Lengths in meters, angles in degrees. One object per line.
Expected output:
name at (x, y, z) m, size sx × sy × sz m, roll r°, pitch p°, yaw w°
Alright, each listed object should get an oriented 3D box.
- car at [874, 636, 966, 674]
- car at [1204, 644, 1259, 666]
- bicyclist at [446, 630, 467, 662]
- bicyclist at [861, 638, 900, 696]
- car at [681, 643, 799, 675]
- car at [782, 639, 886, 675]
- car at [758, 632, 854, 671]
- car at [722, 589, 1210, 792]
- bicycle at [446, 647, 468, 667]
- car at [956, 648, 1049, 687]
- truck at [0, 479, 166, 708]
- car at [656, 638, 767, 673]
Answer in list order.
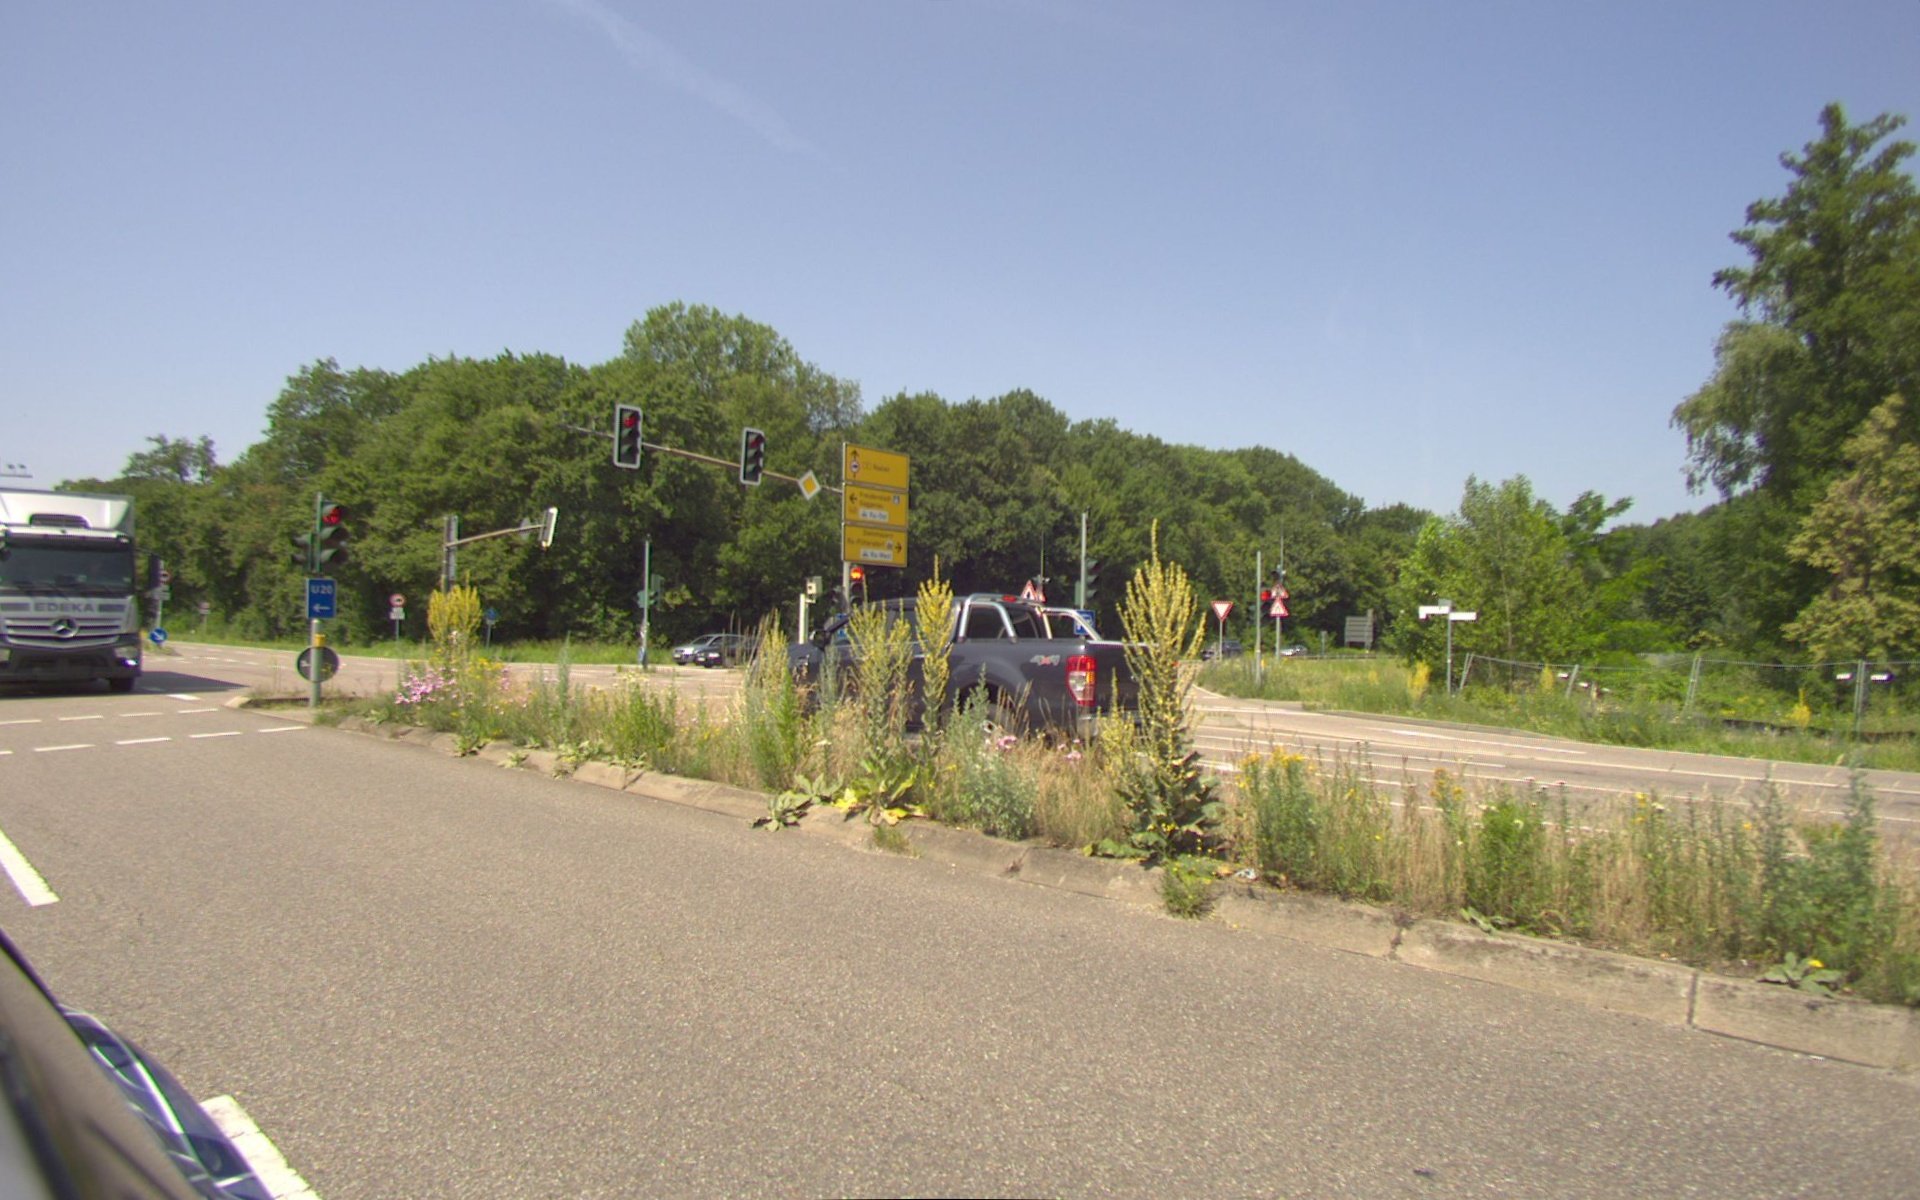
car at (-2.071, 2.895, 53.578) m, size 2.066 × 1.910 × 4.752 m, roll -1°, pitch -4°, yaw 42°
car at (20.910, 4.243, 77.815) m, size 4.749 × 1.648 × 2.001 m, roll 4°, pitch -4°, yaw -45°
bicyclist at (-23.591, 2.132, 47.430) m, size 0.651 × 1.476 × 0.811 m, roll 3°, pitch -3°, yaw -39°
bicyclist at (-2.096, 1.752, 26.491) m, size 0.911 × 1.471 × 0.718 m, roll 1°, pitch -3°, yaw -10°
car at (-9.687, 2.600, 44.781) m, size 2.105 × 1.300 × 4.753 m, roll -1°, pitch -4°, yaw 42°
car at (-6.036, 2.764, 48.962) m, size 4.749 × 1.648 × 2.001 m, roll 4°, pitch -4°, yaw -45°
car at (-7.958, 2.686, 52.579) m, size 1.999 × 1.913 × 4.754 m, roll -1°, pitch -4°, yaw 41°
car at (-0.192, 0.857, 10.996) m, size 5.365 × 1.691 × 1.972 m, roll -1°, pitch -4°, yaw 43°
bicycle at (-23.566, 2.663, 47.373) m, size 0.558 × 0.930 × 1.608 m, roll 3°, pitch -3°, yaw -38°
car at (1.776, 2.694, 41.192) m, size 1.769 × 1.402 × 3.961 m, roll -2°, pitch -2°, yaw 40°
truck at (-20.117, -0.008, 21.717) m, size 11.314 × 3.914 × 2.718 m, roll -1°, pitch -2°, yaw 41°
car at (-11.772, 2.657, 48.236) m, size 2.129 × 1.579 × 4.754 m, roll -1°, pitch -4°, yaw 42°
